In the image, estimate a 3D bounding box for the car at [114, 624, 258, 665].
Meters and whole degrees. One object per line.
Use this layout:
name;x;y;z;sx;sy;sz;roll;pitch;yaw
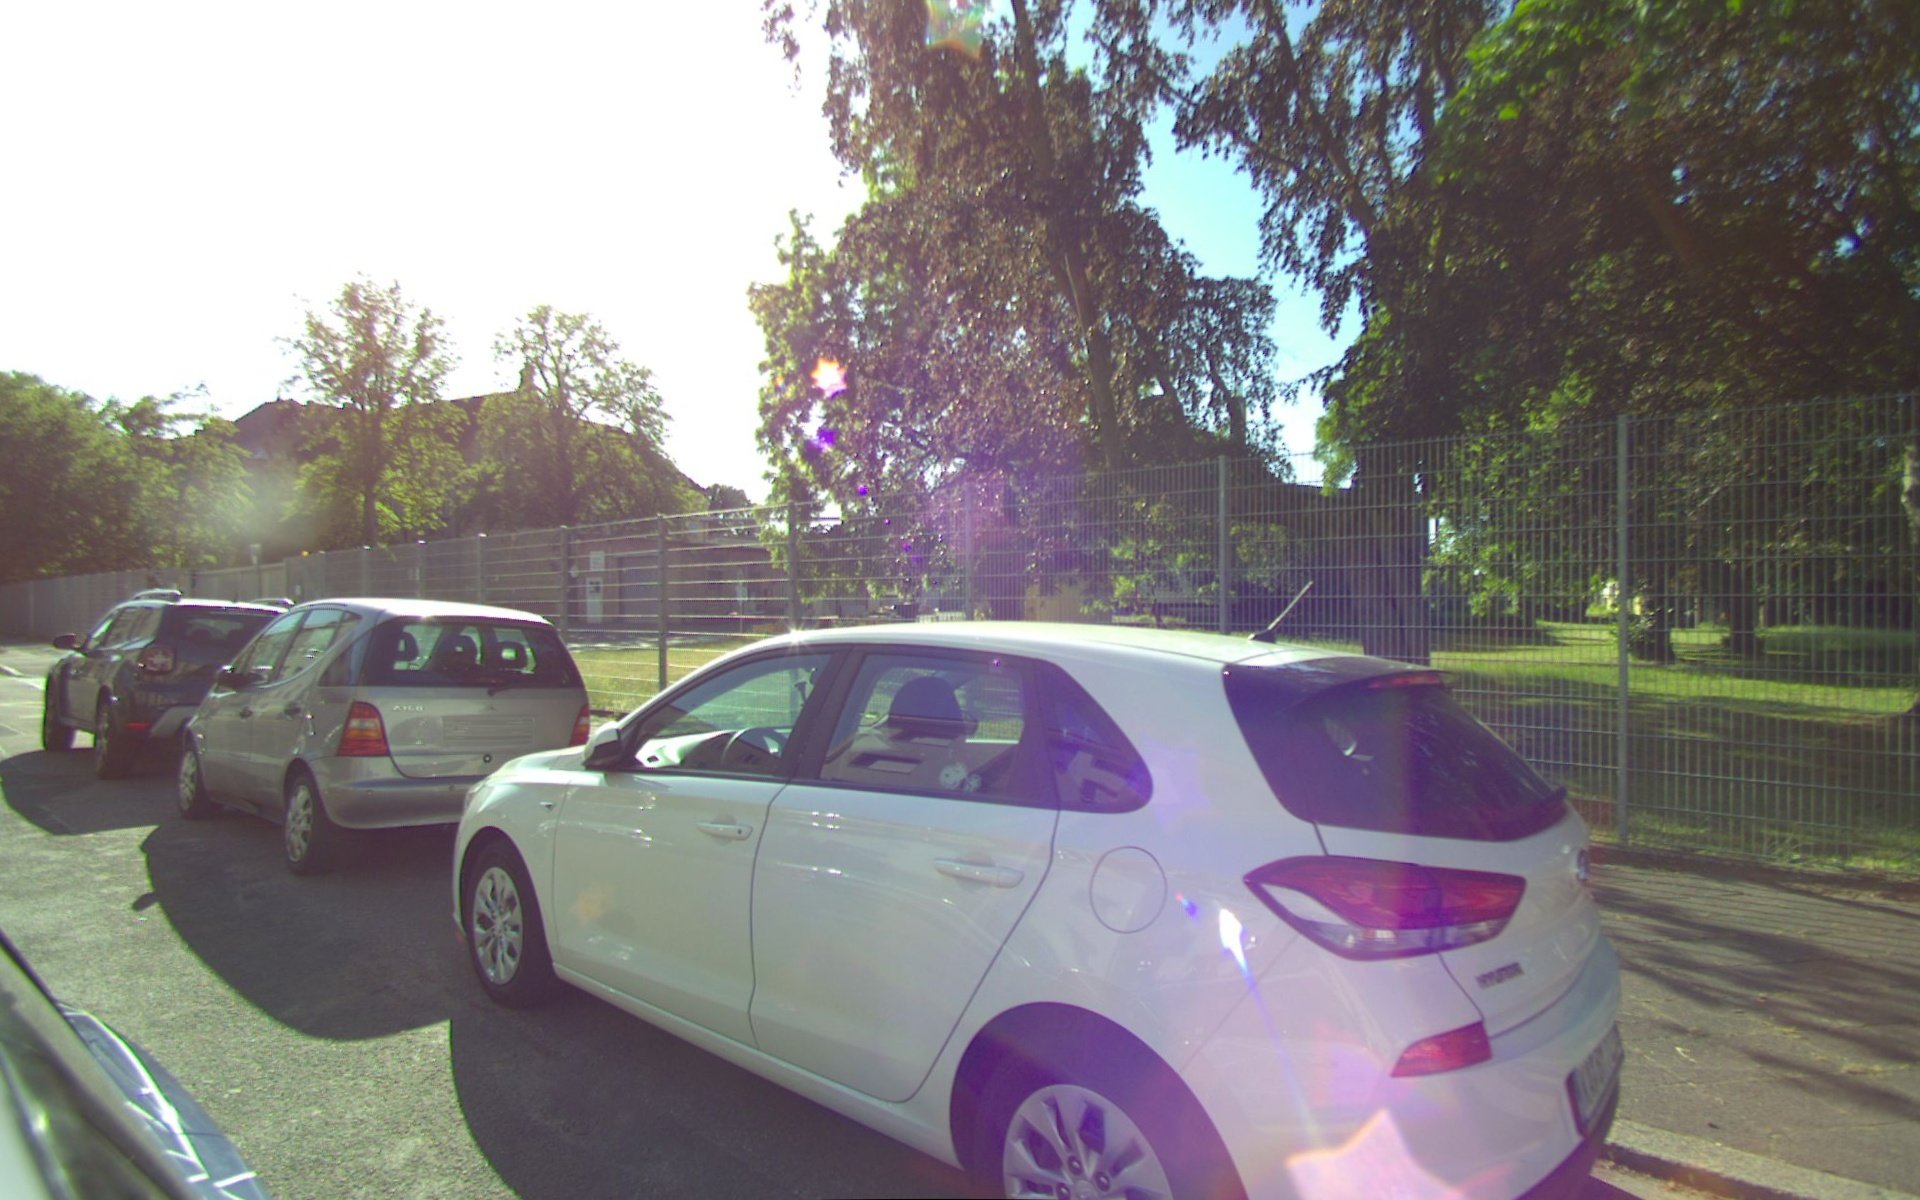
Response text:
car;-29.039;1.627;38.052;1.998;1.431;3.947;-1;-1;39

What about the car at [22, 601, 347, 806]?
car;-8.008;0.922;10.317;4.162;1.676;1.695;-1;-4;40

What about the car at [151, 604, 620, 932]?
car;-4.045;0.917;6.910;3.613;1.656;1.548;-1;-5;40

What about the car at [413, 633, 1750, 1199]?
car;-0.038;0.884;3.365;4.118;1.456;1.775;-1;-3;41
